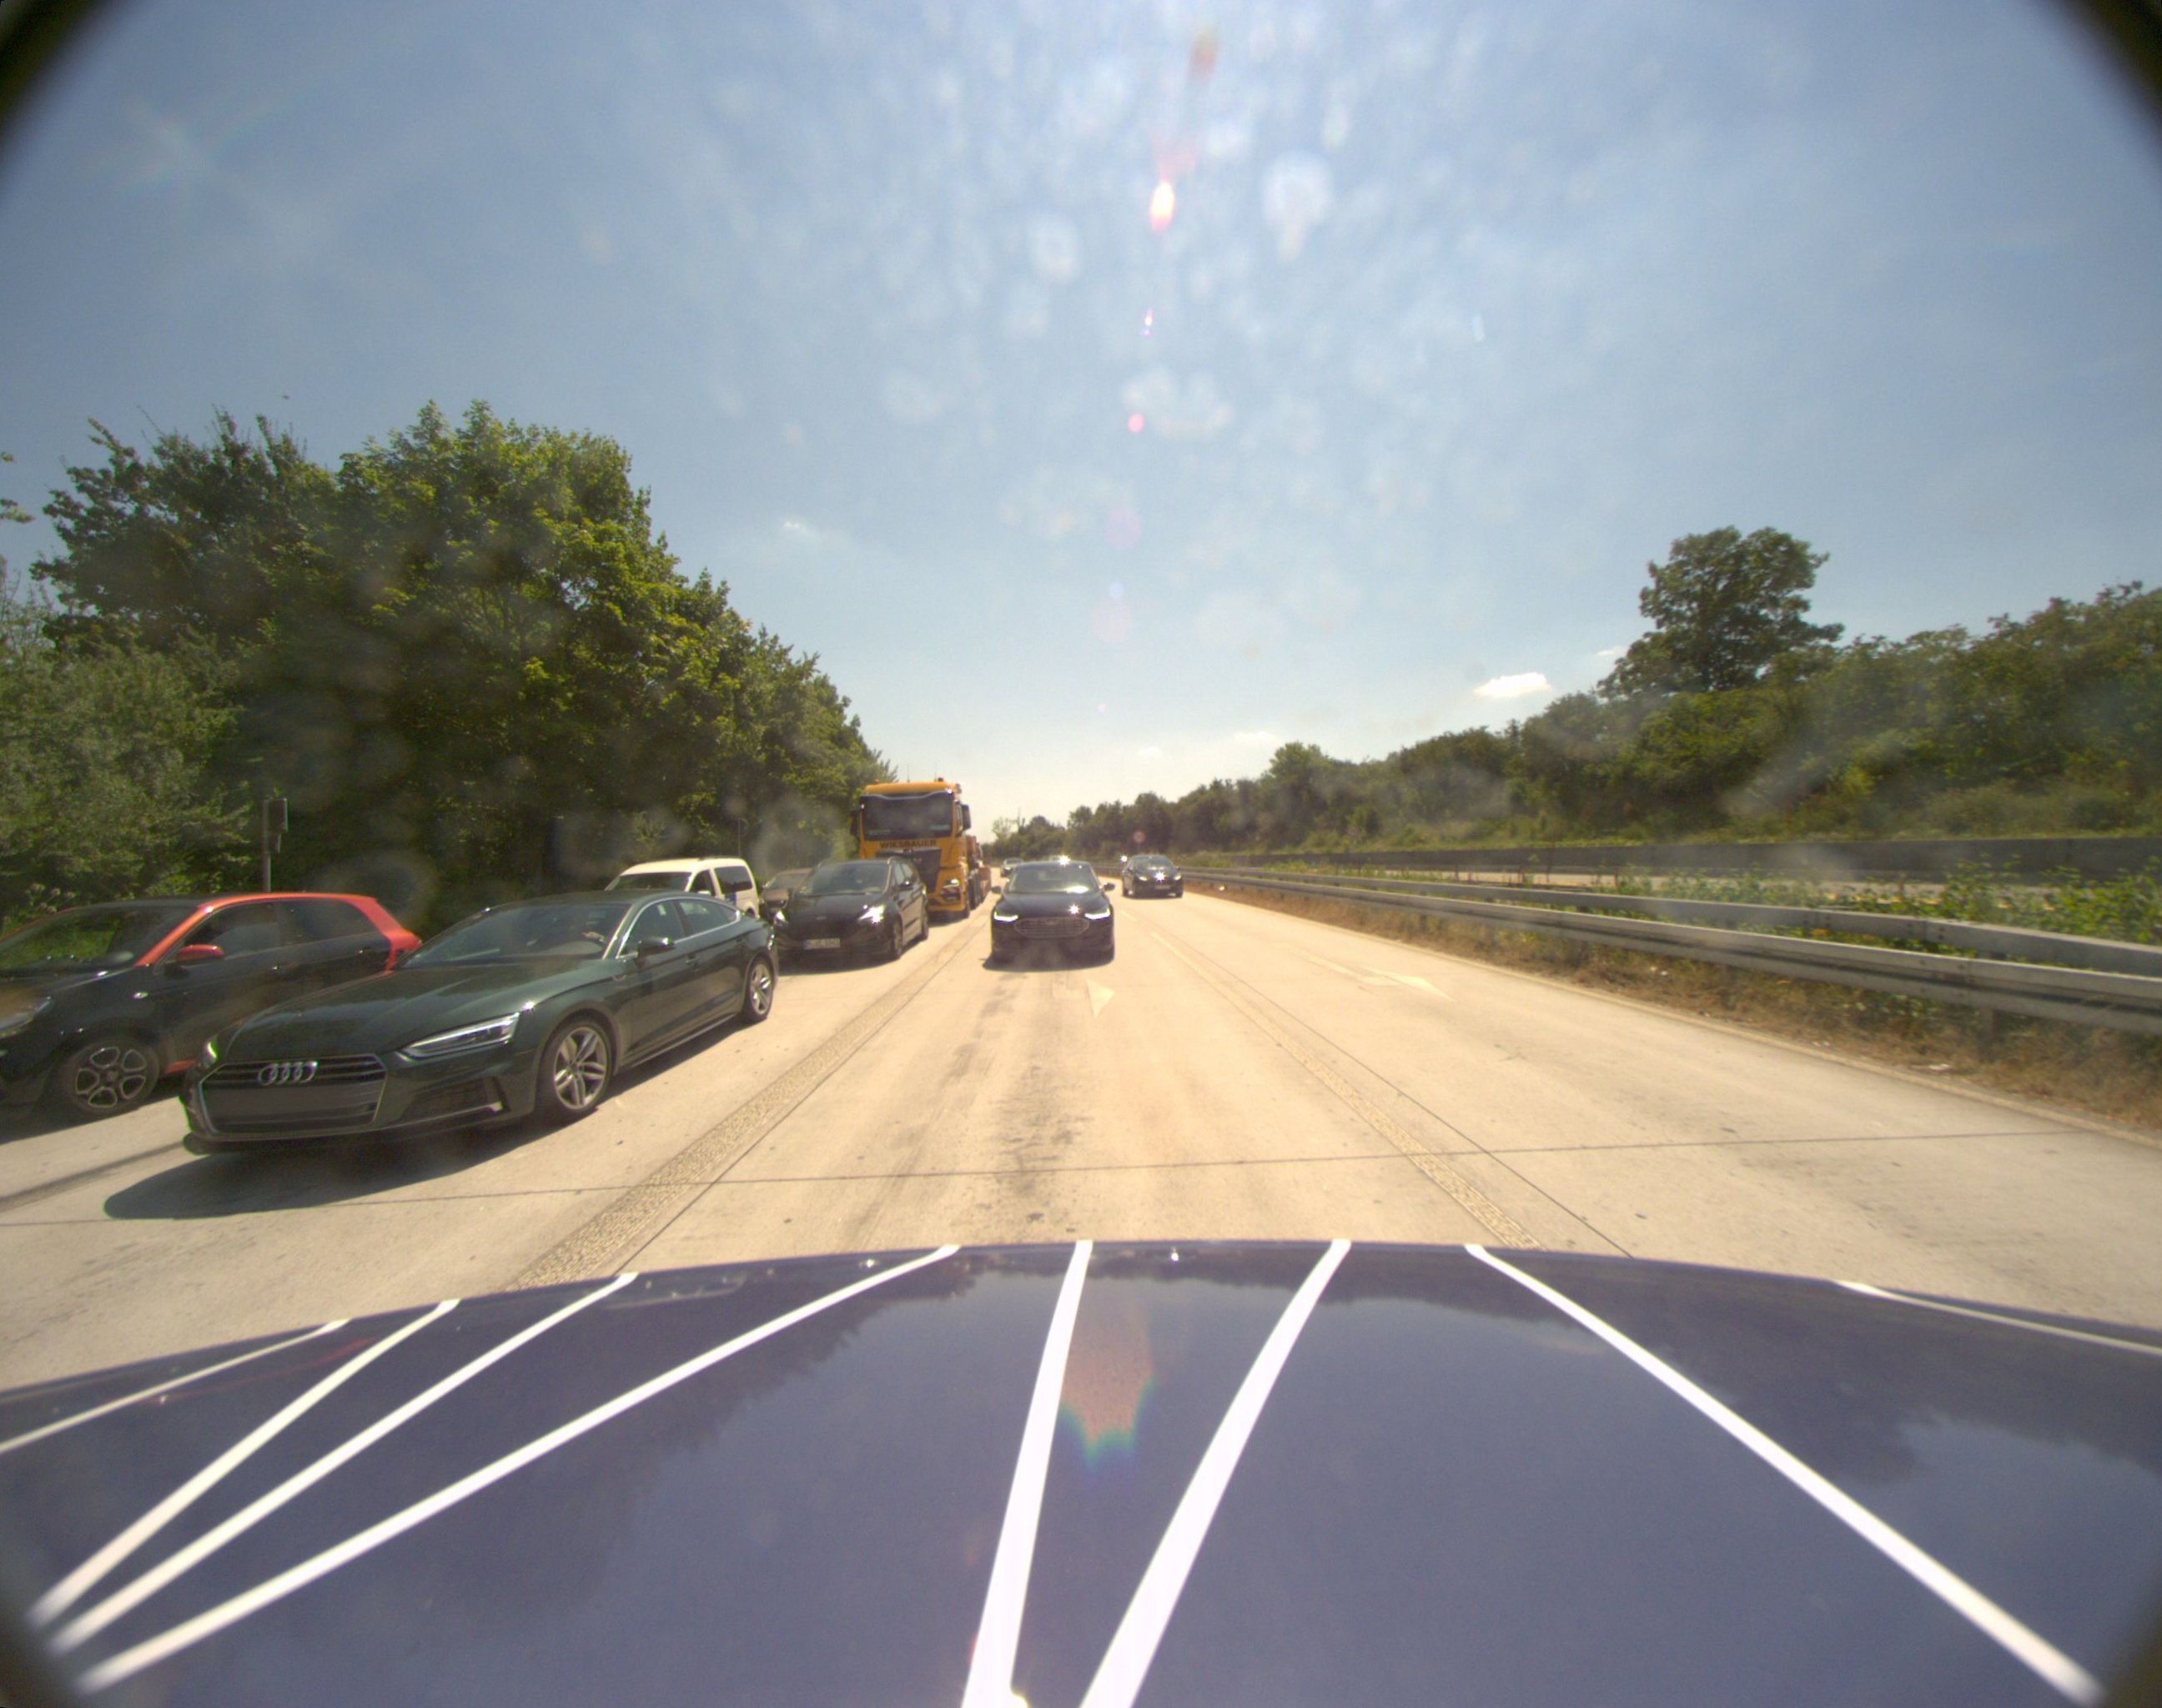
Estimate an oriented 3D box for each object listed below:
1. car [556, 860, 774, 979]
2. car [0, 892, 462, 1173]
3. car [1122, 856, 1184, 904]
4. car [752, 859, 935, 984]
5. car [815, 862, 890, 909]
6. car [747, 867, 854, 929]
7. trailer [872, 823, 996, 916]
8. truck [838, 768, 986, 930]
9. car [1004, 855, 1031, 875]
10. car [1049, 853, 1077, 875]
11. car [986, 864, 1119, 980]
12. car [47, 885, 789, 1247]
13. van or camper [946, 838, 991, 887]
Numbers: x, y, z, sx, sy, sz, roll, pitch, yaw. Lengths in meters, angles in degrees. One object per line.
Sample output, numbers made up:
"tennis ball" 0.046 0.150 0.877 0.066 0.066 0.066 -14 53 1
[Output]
"car" -7.828 1.094 14.945 1.772 1.797 4.790 -2 1 -3
"car" -7.595 1.215 6.406 1.772 1.501 3.650 -2 1 -2
"car" 2.492 0.862 27.084 1.627 1.476 3.998 -2 1 -2
"car" -3.831 0.972 13.179 1.788 1.630 4.645 -2 1 -2
"car" -8.386 1.113 28.288 1.773 1.454 4.595 -2 1 -6
"car" -7.996 1.192 22.126 1.773 1.454 4.362 -2 1 -5
"trailer" -5.161 0.444 30.167 3.036 2.578 16.348 -2 0 -5
"truck" -4.469 -0.153 21.808 3.022 3.751 7.465 -2 1 -5
"car" -5.036 0.839 59.803 1.891 1.456 3.997 -2 1 -6
"car" -1.398 0.733 57.396 1.707 1.456 3.997 -2 1 -6
"car" -0.496 0.937 12.411 1.731 1.430 4.302 -2 0 -3
"car" -4.020 1.101 5.922 1.772 1.402 4.608 -2 1 -2
"van or camper" -6.447 0.423 44.180 2.069 2.559 5.905 -2 1 -4
